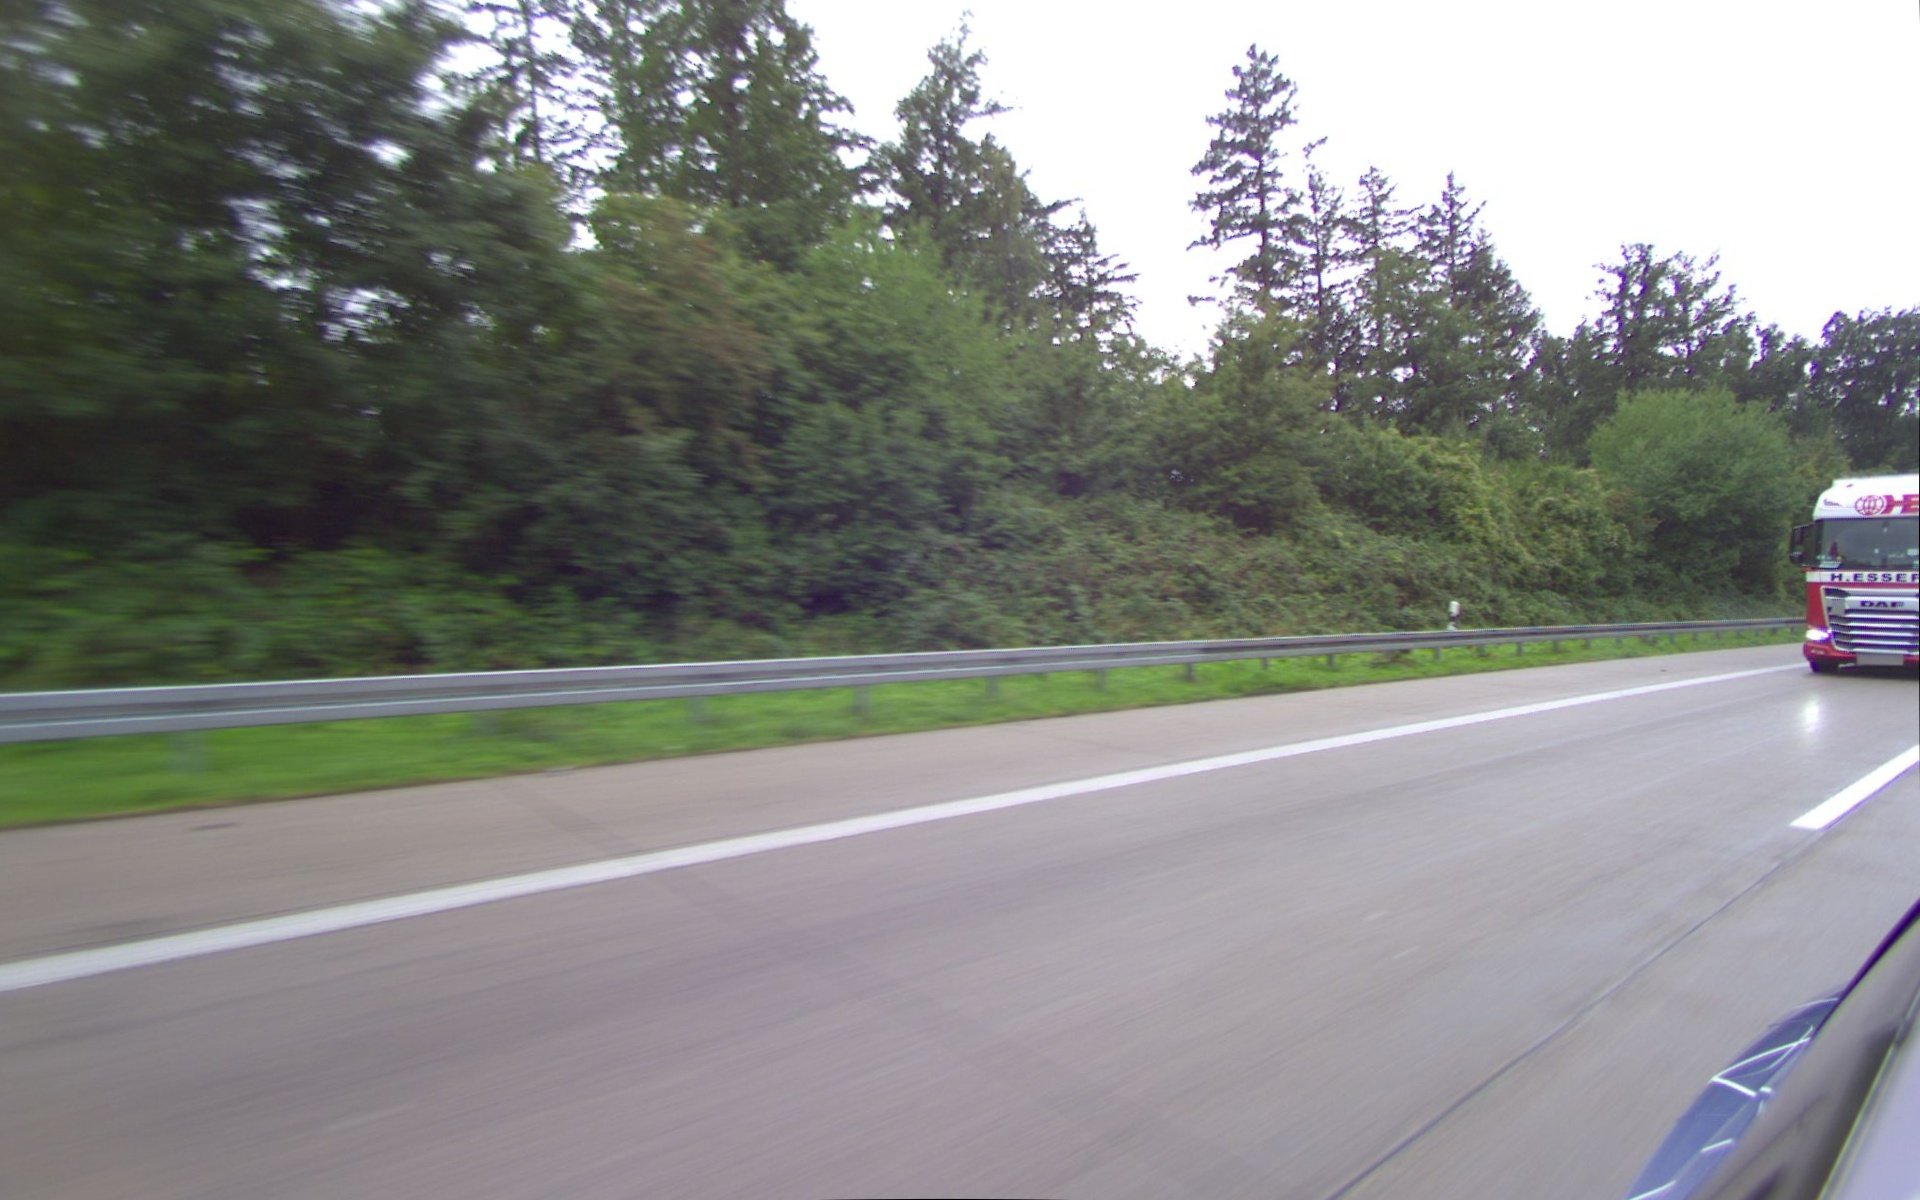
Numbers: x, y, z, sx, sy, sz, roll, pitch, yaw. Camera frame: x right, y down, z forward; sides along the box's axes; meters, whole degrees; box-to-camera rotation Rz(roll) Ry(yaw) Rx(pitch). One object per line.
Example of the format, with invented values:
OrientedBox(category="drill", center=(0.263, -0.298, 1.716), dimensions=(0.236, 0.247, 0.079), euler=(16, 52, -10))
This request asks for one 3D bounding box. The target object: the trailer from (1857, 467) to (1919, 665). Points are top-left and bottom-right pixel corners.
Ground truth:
OrientedBox(category="trailer", center=(24.482, -0.666, 24.149), dimensions=(12.289, 4.004, 2.376), euler=(0, 0, -38))

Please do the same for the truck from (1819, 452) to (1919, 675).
OrientedBox(category="truck", center=(19.492, -0.689, 20.243), dimensions=(6.048, 4.004, 2.380), euler=(-1, 0, -39))
